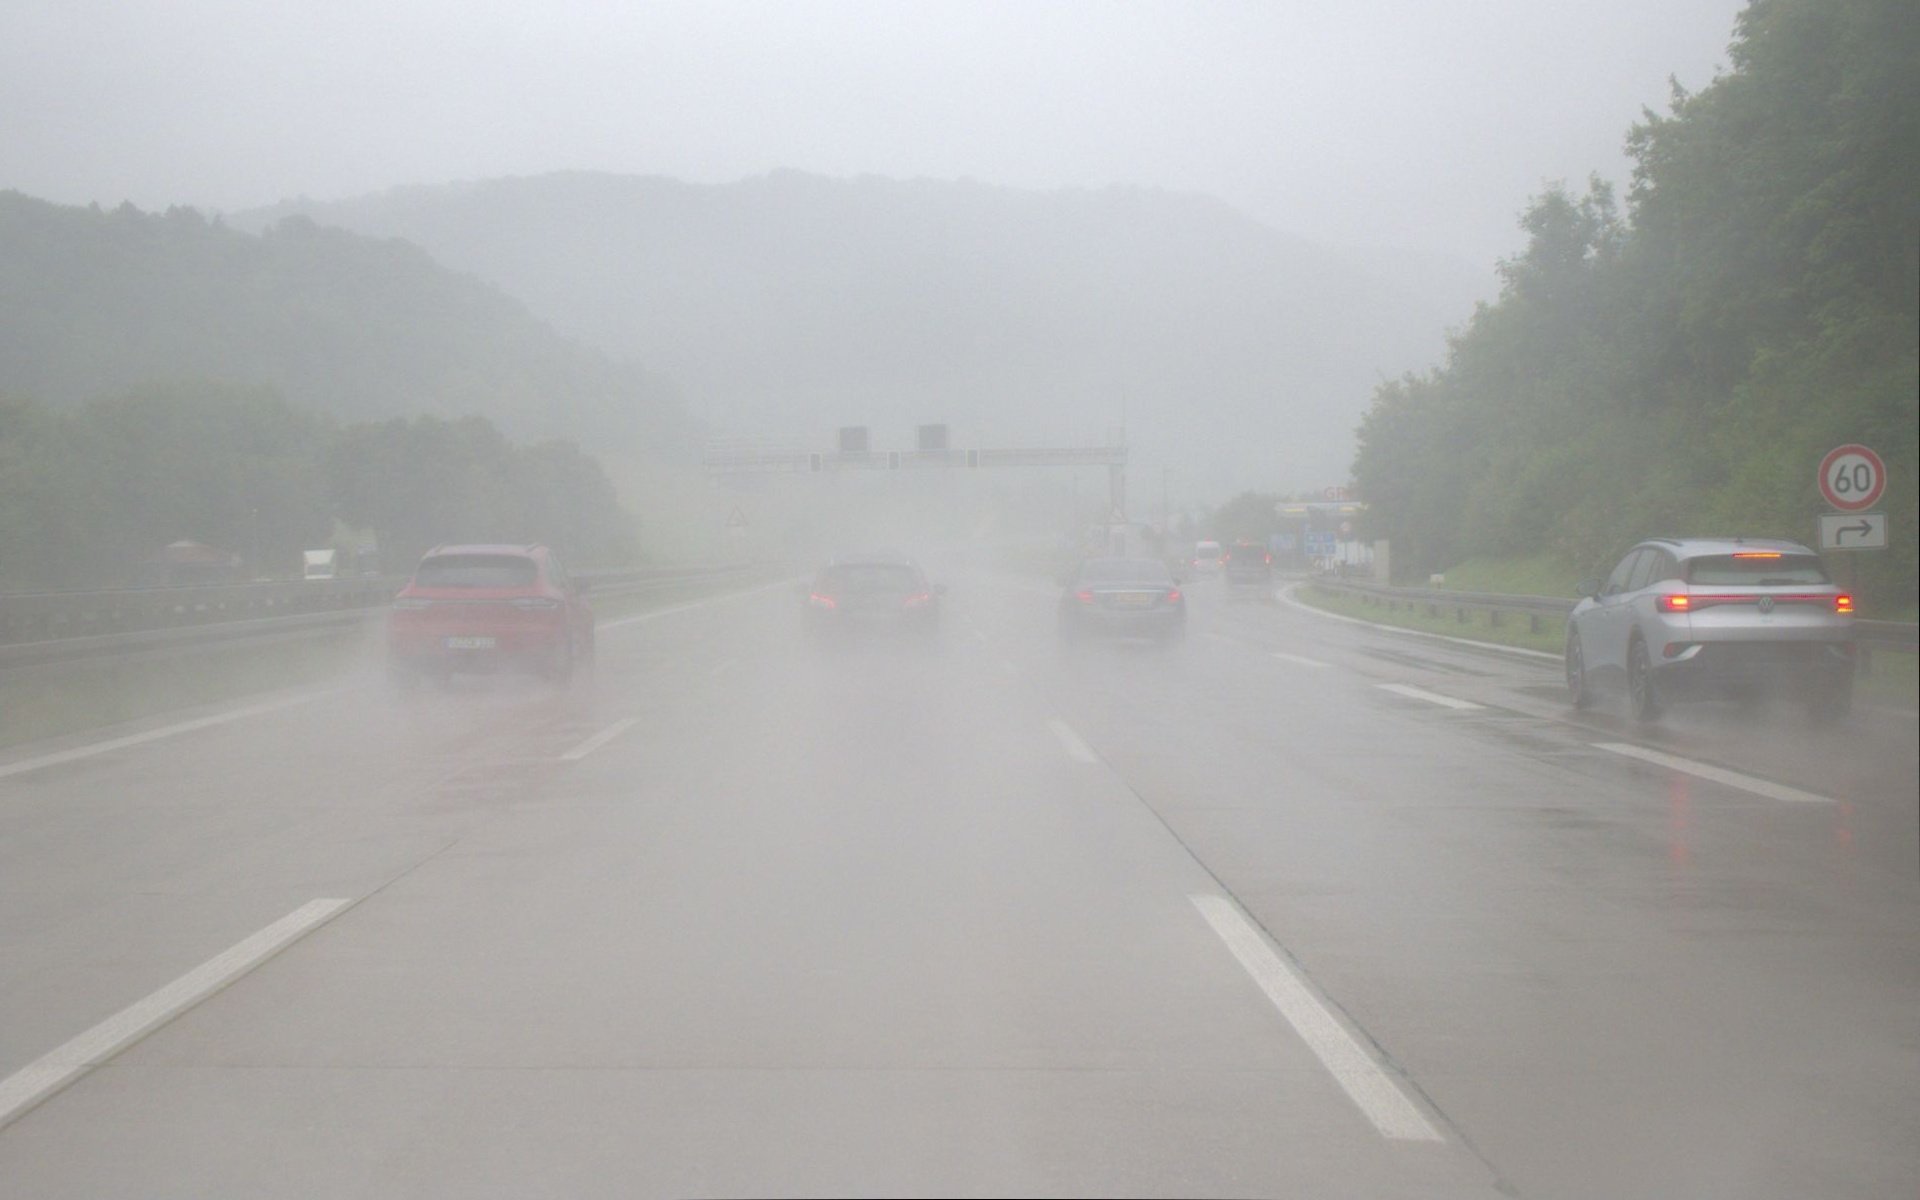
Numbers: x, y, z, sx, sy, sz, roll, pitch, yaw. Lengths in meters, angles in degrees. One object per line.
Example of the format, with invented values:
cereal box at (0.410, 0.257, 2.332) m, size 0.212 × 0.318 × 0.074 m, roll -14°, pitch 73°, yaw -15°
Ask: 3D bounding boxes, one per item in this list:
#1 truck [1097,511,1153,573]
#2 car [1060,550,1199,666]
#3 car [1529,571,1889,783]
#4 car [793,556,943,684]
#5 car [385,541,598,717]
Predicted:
truck at (12.167, -4.302, 254.715) m, size 3.401 × 4.387 × 11.050 m, roll 1°, pitch 1°, yaw -1°
car at (2.667, 0.097, 54.949) m, size 1.971 × 1.754 × 4.000 m, roll 0°, pitch 1°, yaw -1°
car at (6.726, 0.618, 31.543) m, size 1.993 × 1.744 × 5.663 m, roll 0°, pitch 1°, yaw -1°
car at (-1.167, 0.226, 44.917) m, size 1.859 × 1.584 × 4.000 m, roll 0°, pitch 1°, yaw -1°
car at (-5.096, 0.263, 37.826) m, size 1.884 × 1.809 × 4.000 m, roll -1°, pitch 1°, yaw -2°
